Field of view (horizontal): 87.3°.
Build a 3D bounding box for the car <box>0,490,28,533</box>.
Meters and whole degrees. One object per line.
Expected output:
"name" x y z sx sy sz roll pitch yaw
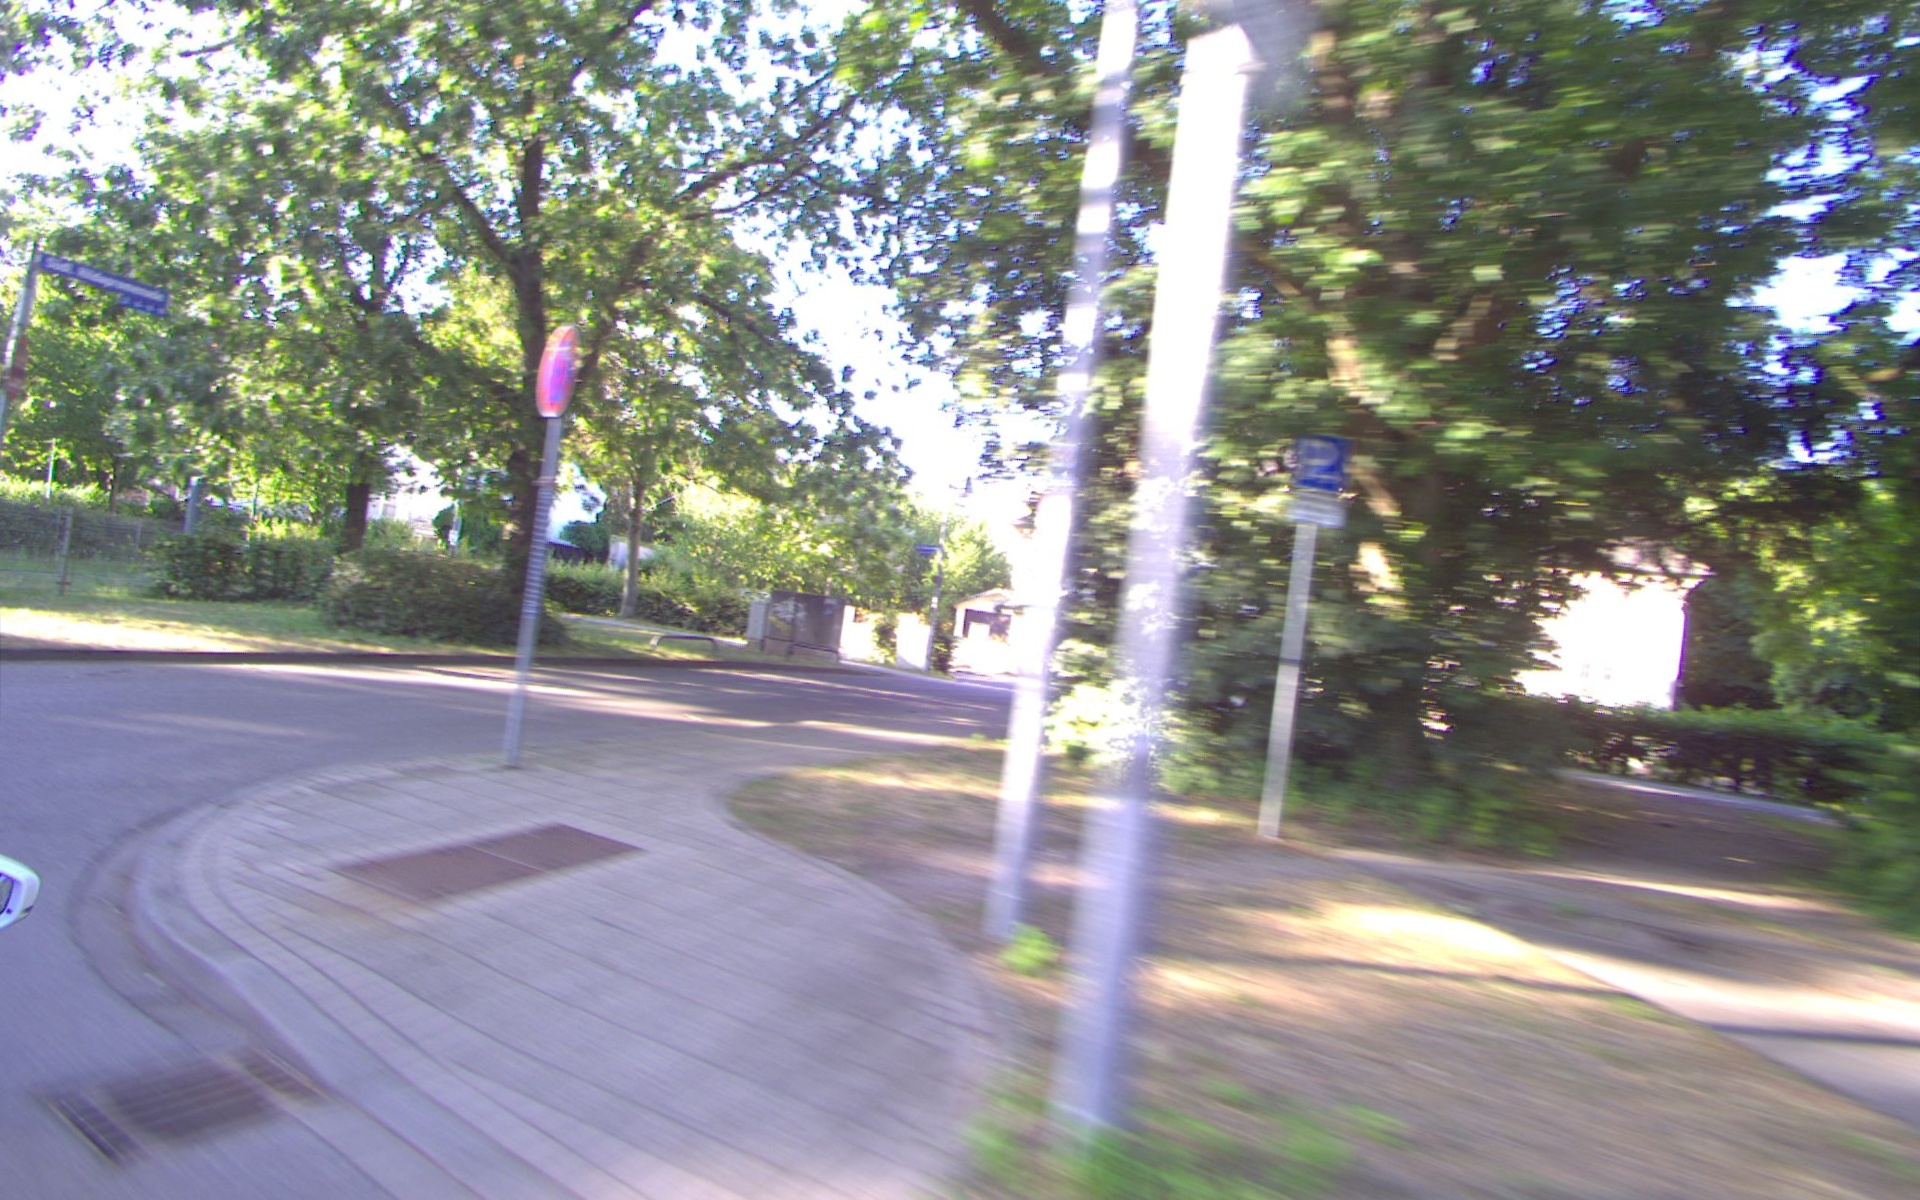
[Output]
"car" -48.802 -4.613 49.594 1.930 2.037 5.137 8 -2 -16
